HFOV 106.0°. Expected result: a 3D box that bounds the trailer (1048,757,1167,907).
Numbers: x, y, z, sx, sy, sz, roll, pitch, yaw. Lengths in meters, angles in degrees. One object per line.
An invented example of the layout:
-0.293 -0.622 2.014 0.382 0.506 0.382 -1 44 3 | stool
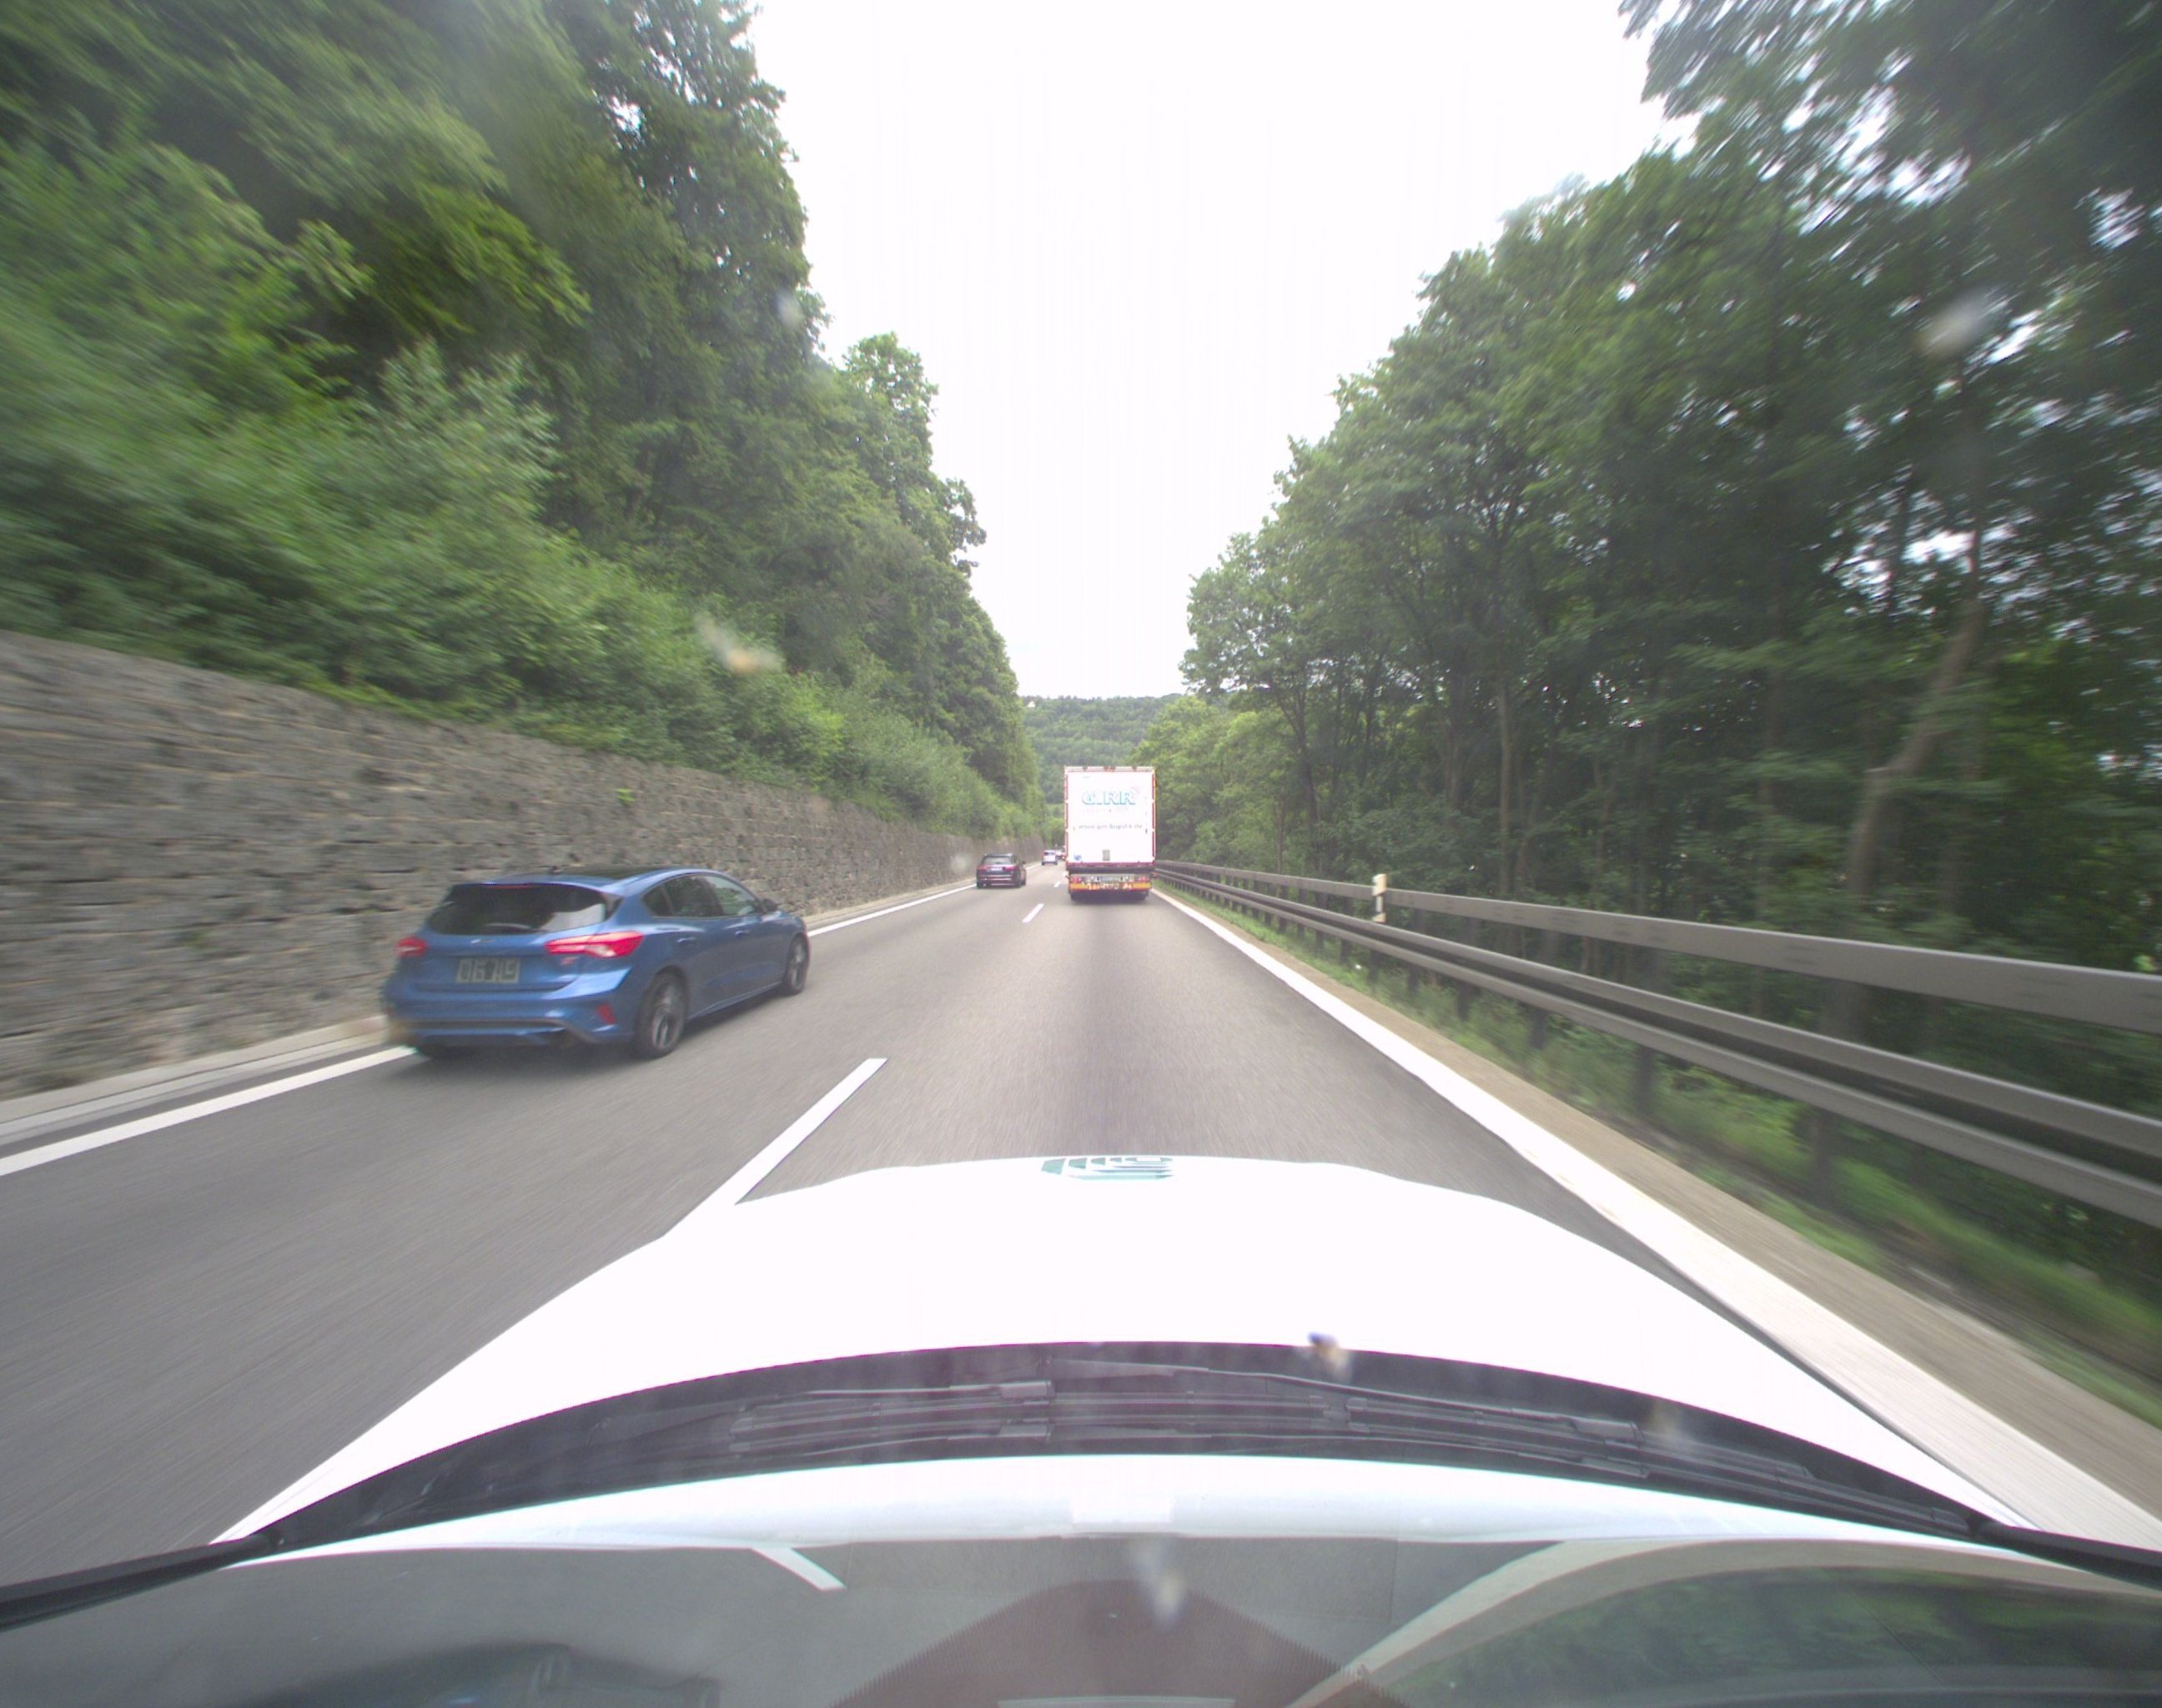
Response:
0.767 -0.655 27.496 3.123 4.042 9.439 3 0 0 | trailer

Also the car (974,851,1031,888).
-3.350 0.634 35.641 1.753 1.463 5.126 0 0 3 | car

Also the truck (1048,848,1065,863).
-3.678 0.211 124.513 2.342 2.274 6.846 2 0 -1 | truck

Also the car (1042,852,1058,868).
-3.395 0.659 89.910 1.628 1.726 4.344 1 0 0 | car

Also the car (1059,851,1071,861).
-3.043 0.358 154.189 2.010 1.914 5.566 2 0 2 | car

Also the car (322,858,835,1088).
-3.945 0.783 7.549 1.829 1.469 4.556 0 0 1 | car

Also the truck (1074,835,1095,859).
0.587 -1.130 141.590 3.062 3.877 8.449 2 0 -3 | truck

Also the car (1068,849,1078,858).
-1.656 -0.126 176.586 1.987 2.014 4.000 2 0 0 | car
